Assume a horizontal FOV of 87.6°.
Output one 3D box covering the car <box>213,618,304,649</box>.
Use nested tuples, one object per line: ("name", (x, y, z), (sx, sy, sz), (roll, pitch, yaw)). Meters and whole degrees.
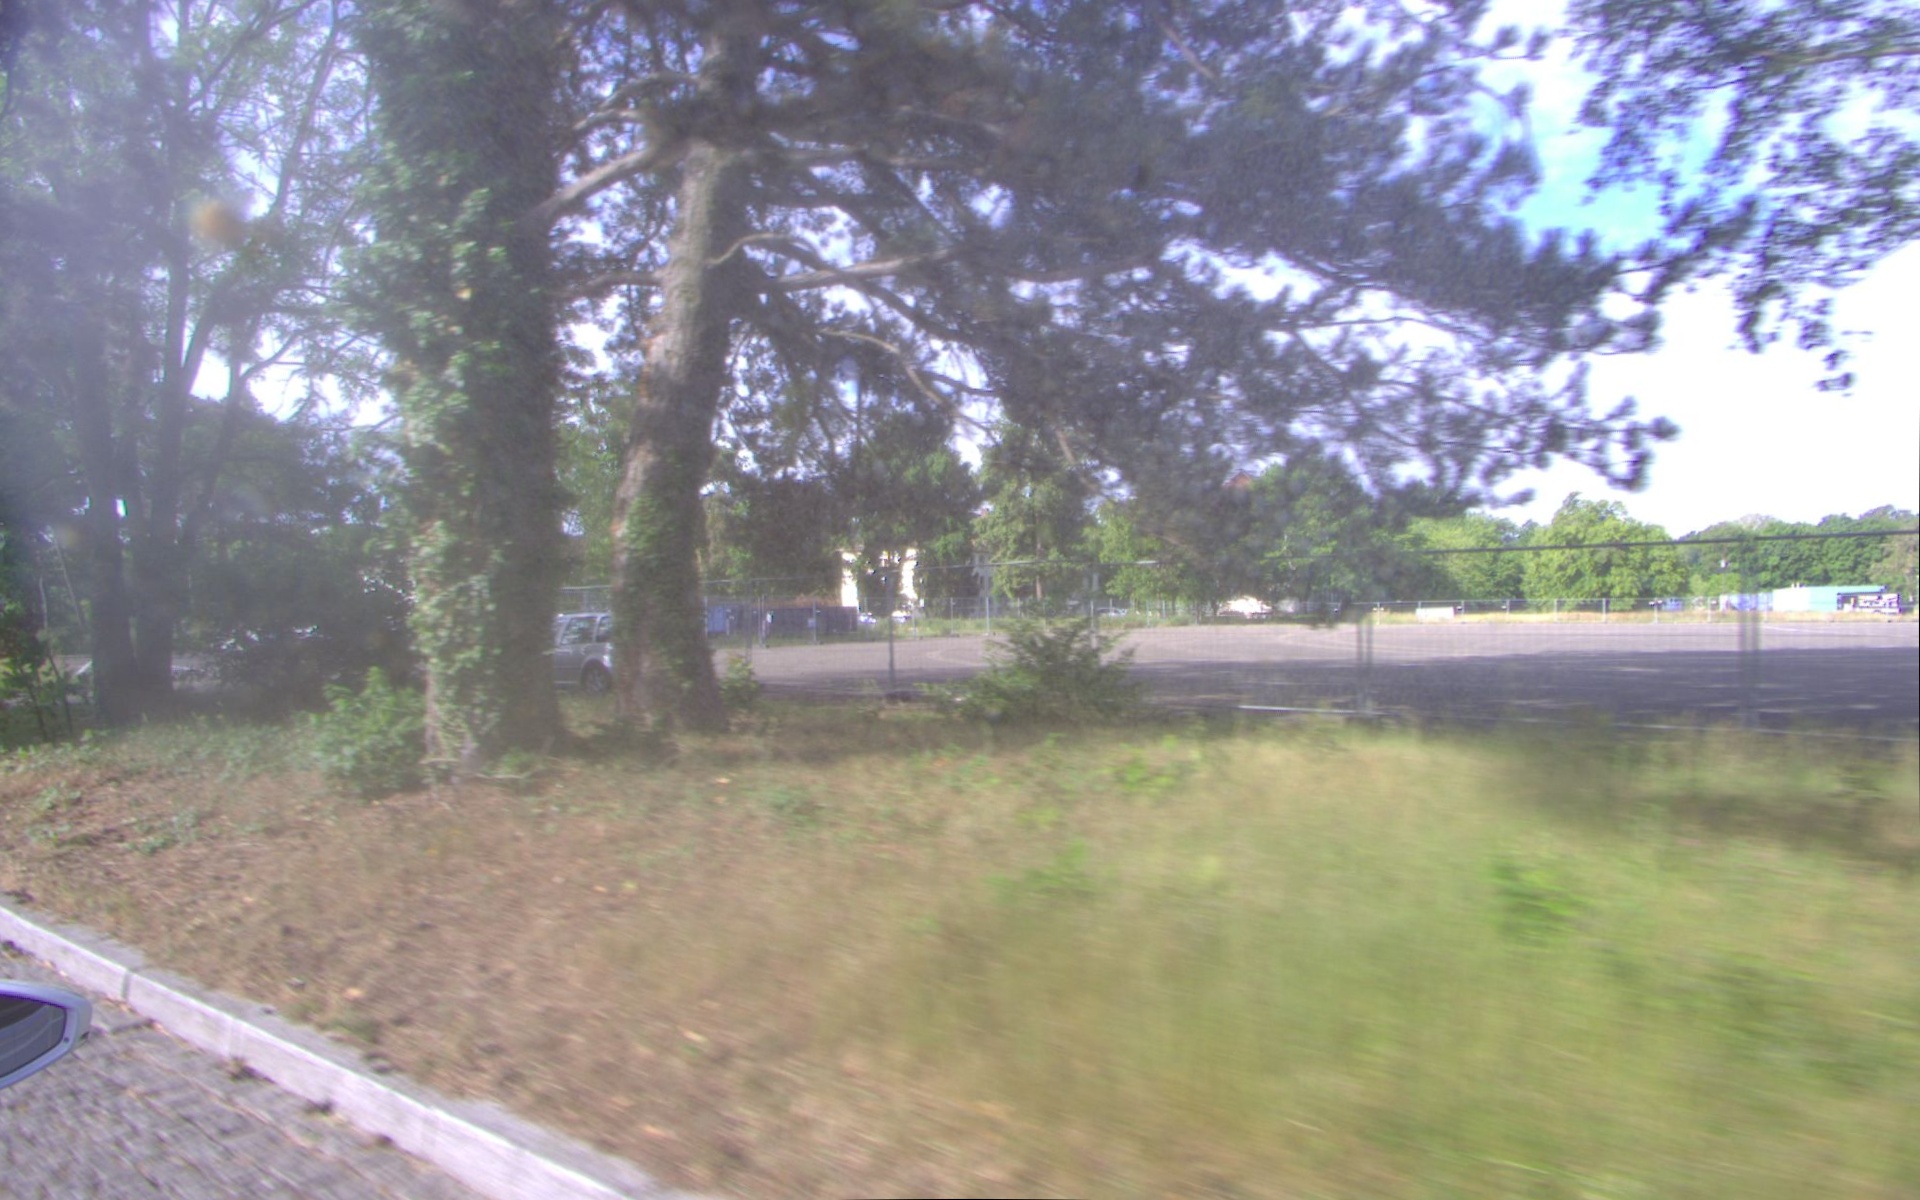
("car", (-31.849, 1.509, 45.423), (4.266, 1.329, 1.729), (-1, 0, 30))

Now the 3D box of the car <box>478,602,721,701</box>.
("car", (-6.073, 0.810, 16.778), (3.939, 1.487, 1.665), (-1, 0, 29))
